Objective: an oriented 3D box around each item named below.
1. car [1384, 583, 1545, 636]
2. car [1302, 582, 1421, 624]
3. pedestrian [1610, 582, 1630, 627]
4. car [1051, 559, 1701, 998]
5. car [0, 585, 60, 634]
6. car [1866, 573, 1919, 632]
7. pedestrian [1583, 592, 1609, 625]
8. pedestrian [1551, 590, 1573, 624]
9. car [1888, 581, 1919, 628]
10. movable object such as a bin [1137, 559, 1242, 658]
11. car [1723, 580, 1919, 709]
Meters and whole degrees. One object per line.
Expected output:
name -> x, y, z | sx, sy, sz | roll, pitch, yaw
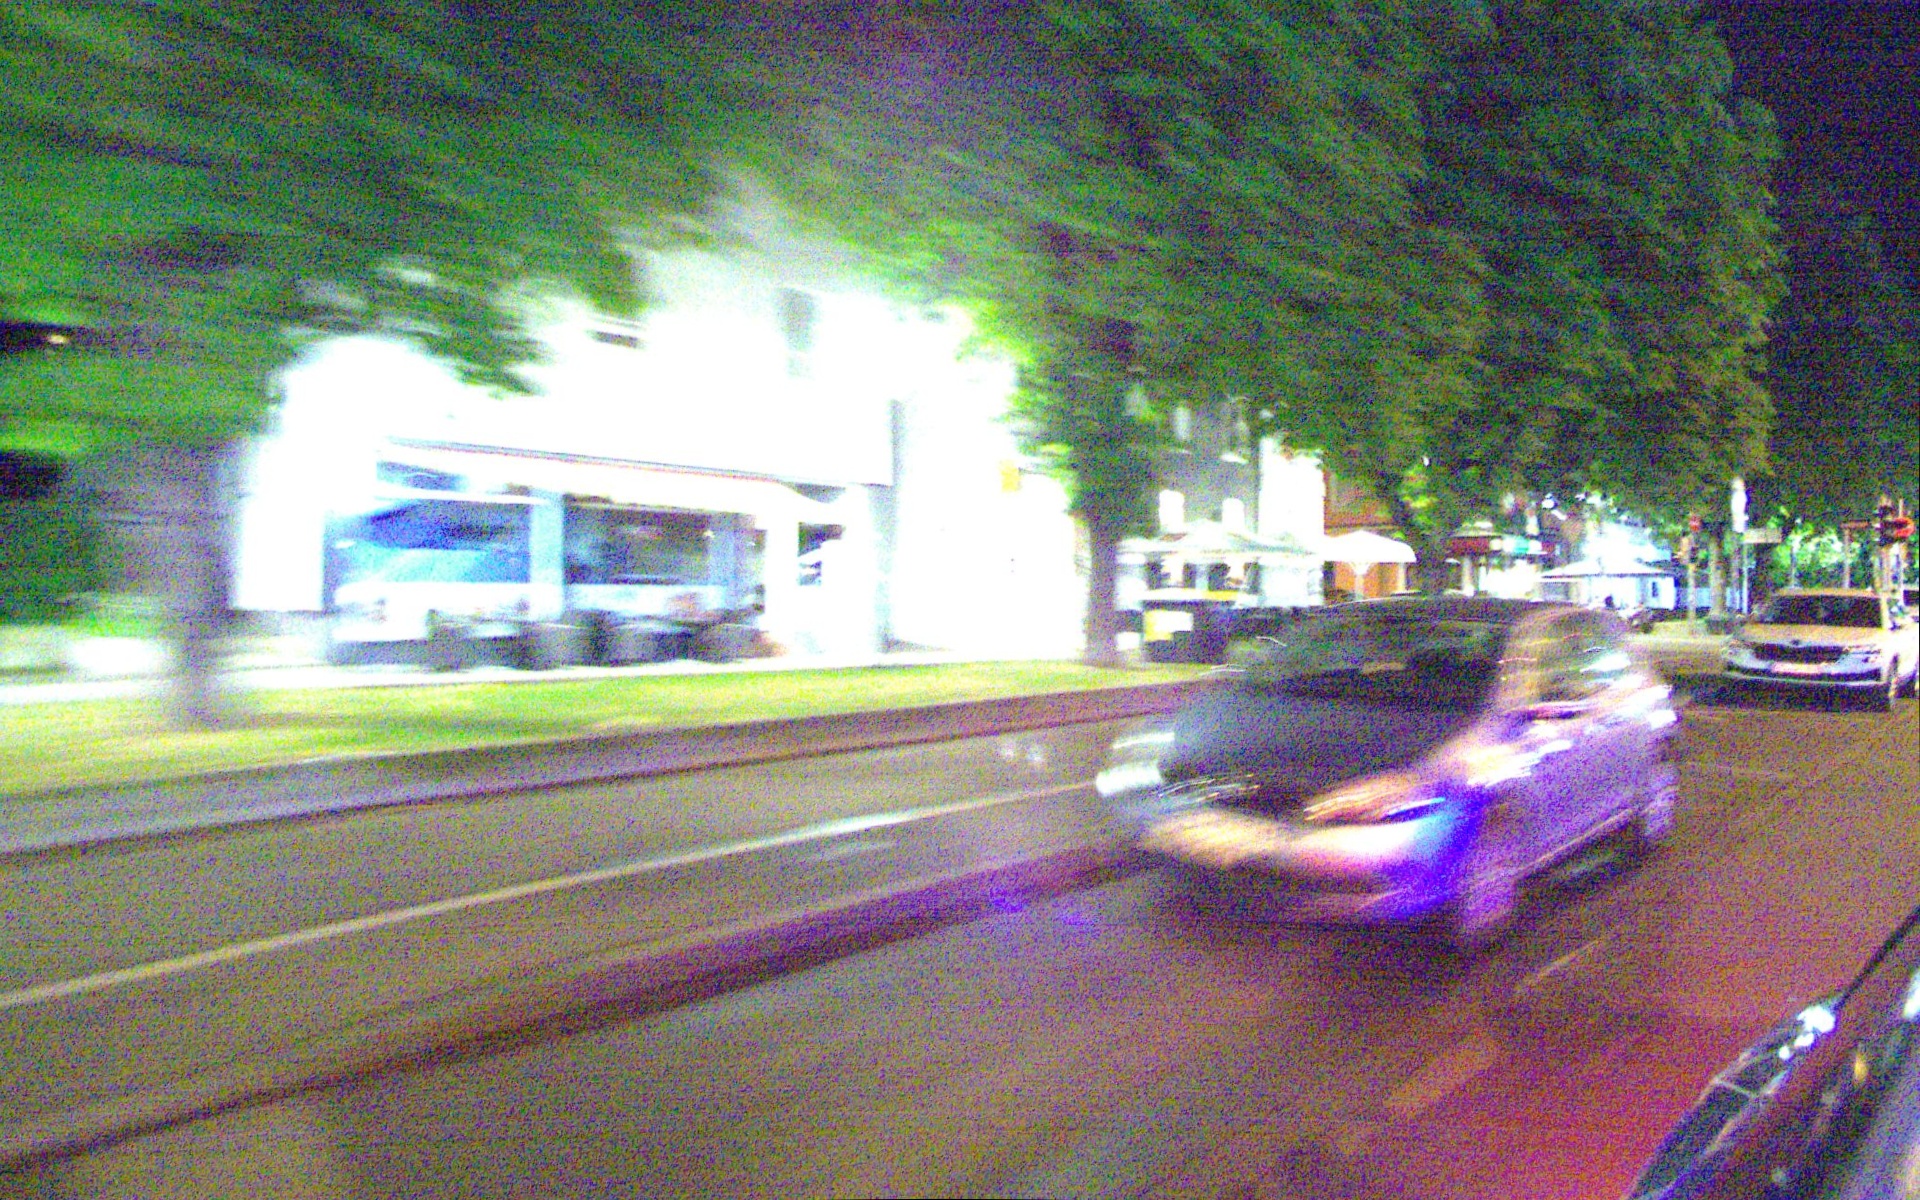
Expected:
car -> 16.128, 0.246, 32.514 | 1.773, 1.550, 4.322 | -2, 2, -41
car -> 16.335, 0.090, 41.271 | 1.772, 1.569, 4.150 | 2, 0, -42
pedestrian -> 23.628, 0.154, 36.225 | 0.364, 1.607, 0.482 | 0, 0, -6
car -> 2.479, 0.600, 5.526 | 3.945, 1.556, 1.693 | 0, 1, -41
car -> -31.097, 0.302, 32.379 | 3.412, 1.528, 1.791 | -1, 1, -41
car -> 31.845, 0.059, 33.887 | 4.501, 1.845, 1.791 | 0, 1, -42
pedestrian -> 24.609, 0.326, 39.164 | 0.518, 1.280, 0.685 | 0, 0, -13
pedestrian -> 23.322, 0.266, 39.198 | 0.518, 1.280, 0.503 | 0, 0, -13
car -> 36.156, 0.135, 37.945 | 4.225, 1.680, 1.686 | -1, 1, -43
movable object such as a bin -> 3.384, 0.124, 14.948 | 0.976, 1.388, 1.162 | 0, 0, -42
car -> 12.610, 0.525, 14.539 | 4.143, 1.555, 1.774 | 0, 2, -41
